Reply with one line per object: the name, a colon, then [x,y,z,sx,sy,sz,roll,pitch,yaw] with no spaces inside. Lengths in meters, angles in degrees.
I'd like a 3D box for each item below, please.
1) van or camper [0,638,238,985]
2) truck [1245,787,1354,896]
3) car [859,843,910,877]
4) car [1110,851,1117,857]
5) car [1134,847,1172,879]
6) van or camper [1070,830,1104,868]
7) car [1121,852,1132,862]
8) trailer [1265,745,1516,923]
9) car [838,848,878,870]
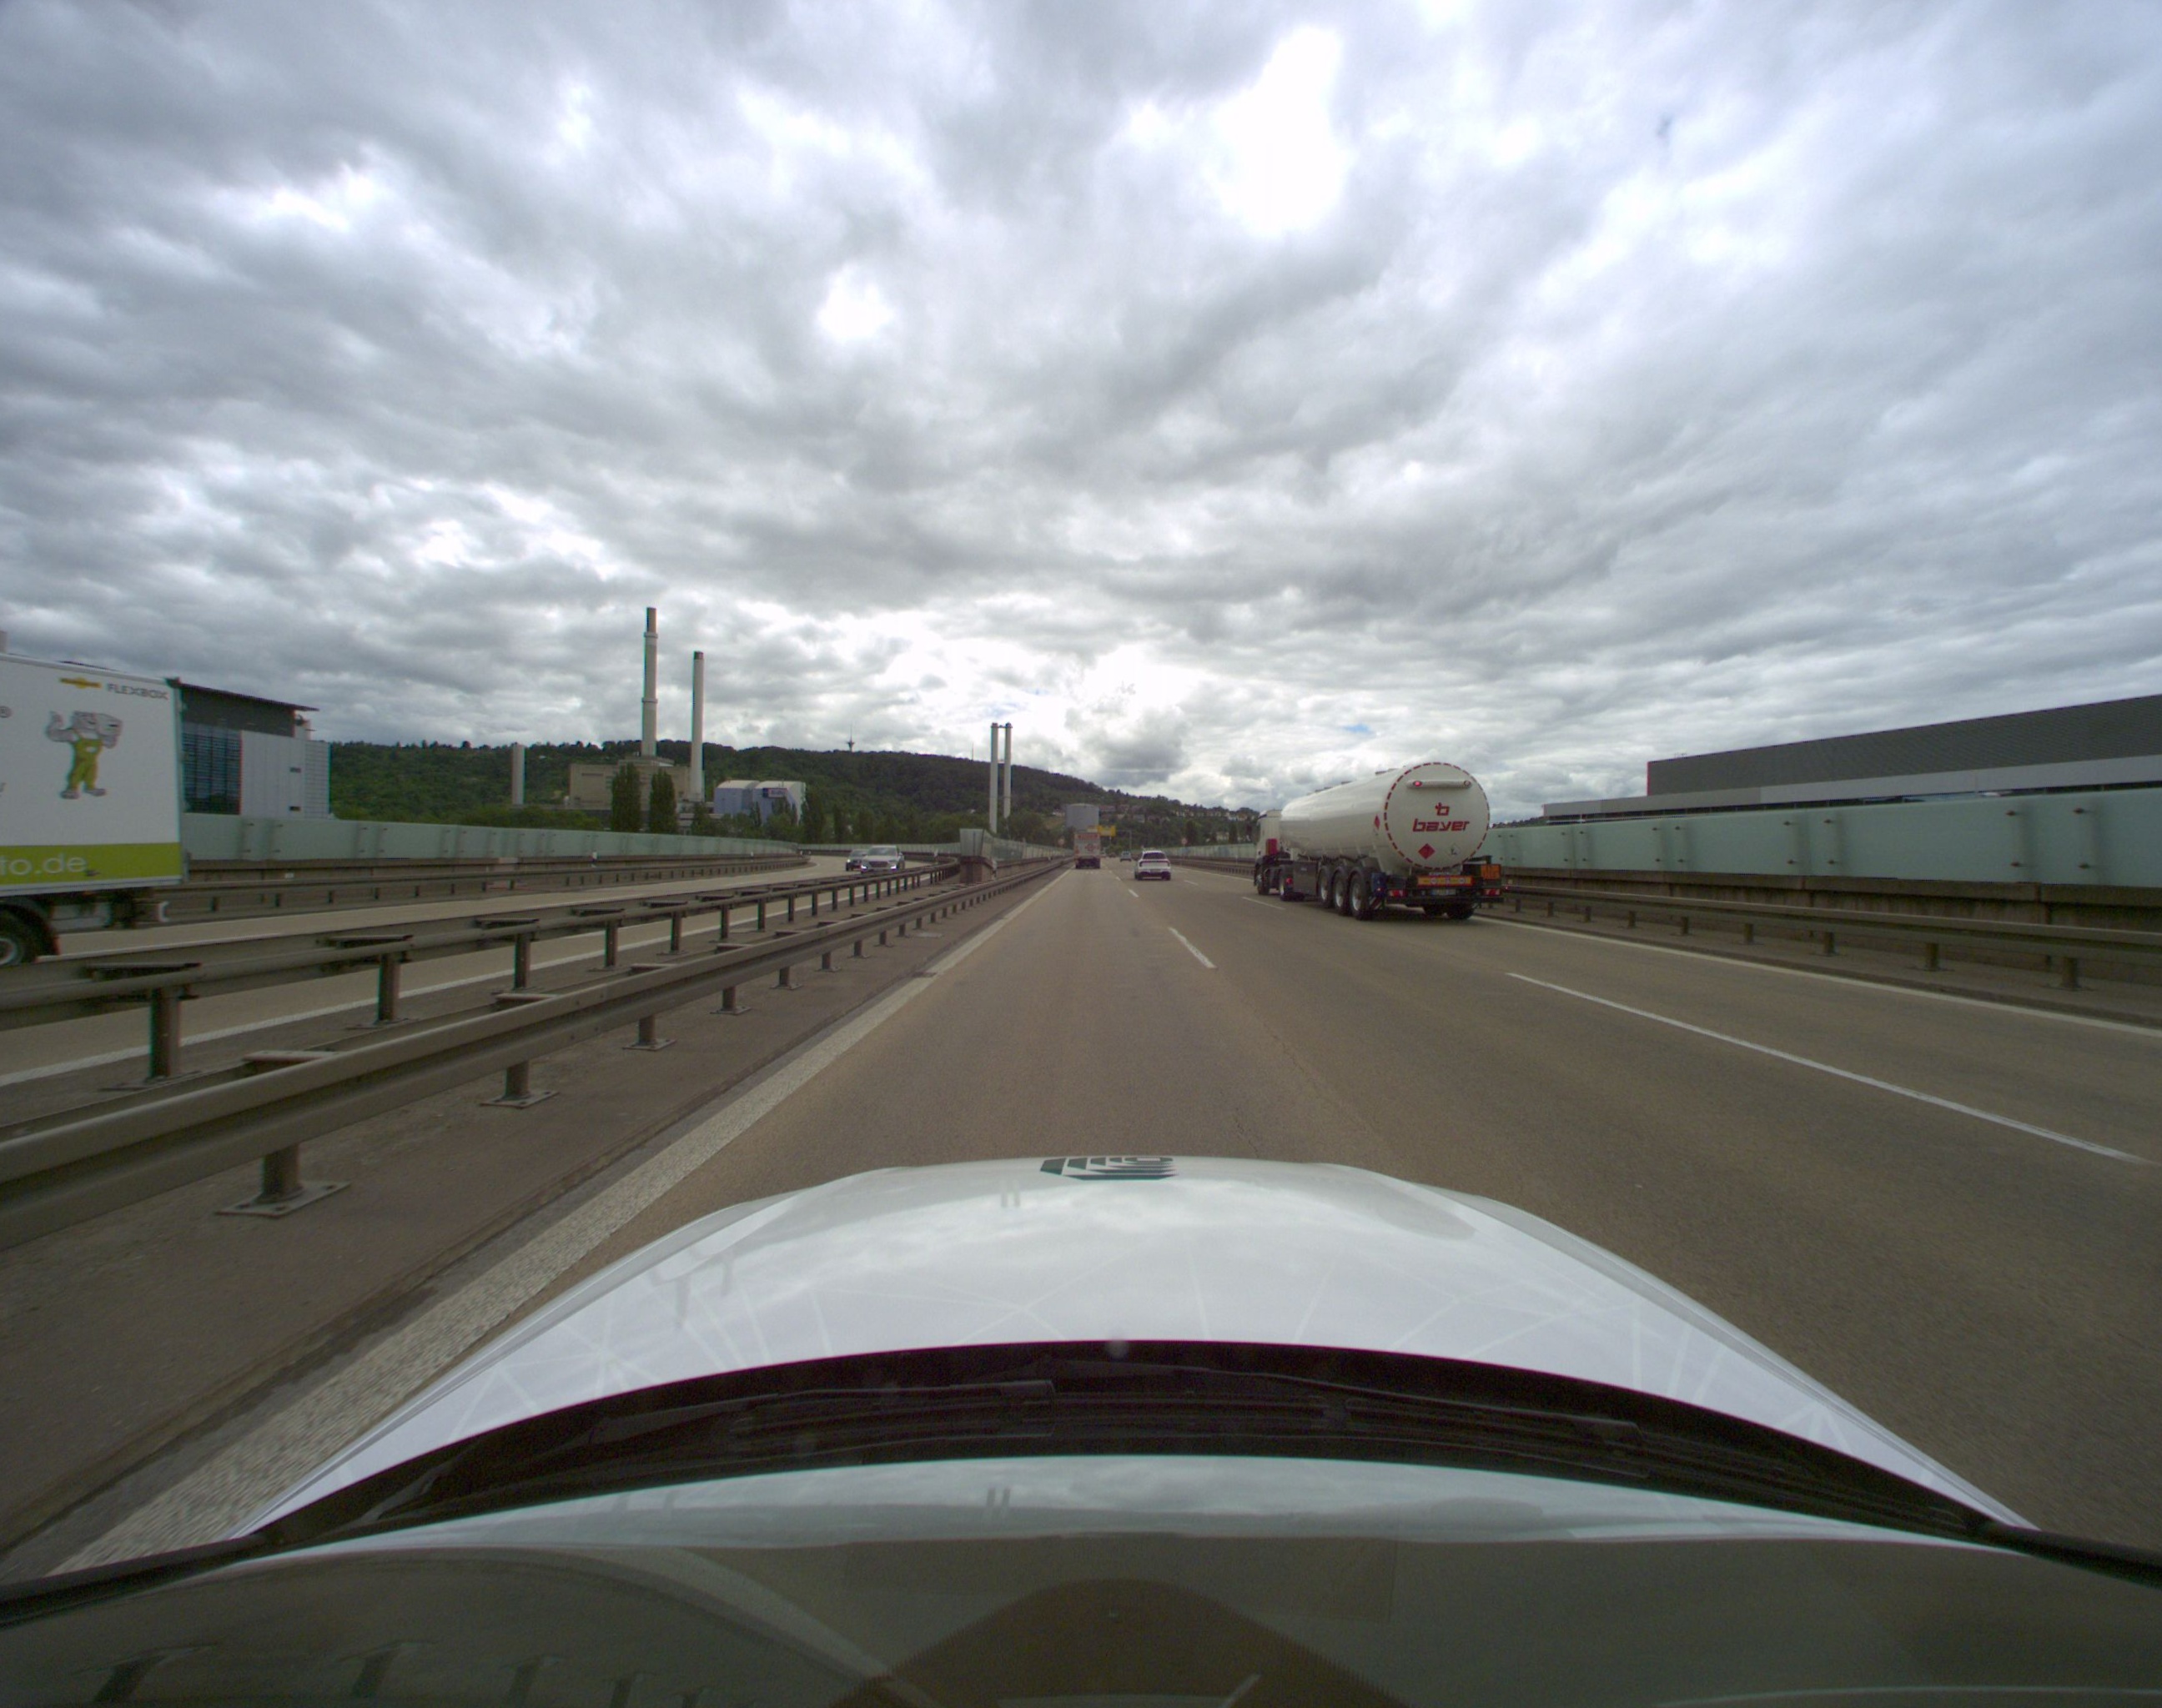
van or camper: [-11.761,-0.413,6.692,2.397,3.387,6.953,0,0,0]
truck: [7.572,-0.393,28.807,2.621,3.514,4.905,0,0,1]
car: [-10.036,0.271,41.893,1.841,1.673,4.401,0,0,-4]
car: [9.492,-0.088,240.305,1.917,1.785,4.114,0,0,1]
car: [4.078,0.487,46.657,1.917,1.785,4.114,0,0,1]
van or camper: [0.688,-0.455,80.873,3.110,3.579,8.553,0,0,2]
car: [7.790,0.505,138.569,1.915,1.785,4.117,0,0,3]
trailer: [7.435,-0.386,21.840,2.641,3.543,11.222,0,0,1]
car: [-15.152,0.302,55.596,1.756,1.431,4.392,0,0,-3]
